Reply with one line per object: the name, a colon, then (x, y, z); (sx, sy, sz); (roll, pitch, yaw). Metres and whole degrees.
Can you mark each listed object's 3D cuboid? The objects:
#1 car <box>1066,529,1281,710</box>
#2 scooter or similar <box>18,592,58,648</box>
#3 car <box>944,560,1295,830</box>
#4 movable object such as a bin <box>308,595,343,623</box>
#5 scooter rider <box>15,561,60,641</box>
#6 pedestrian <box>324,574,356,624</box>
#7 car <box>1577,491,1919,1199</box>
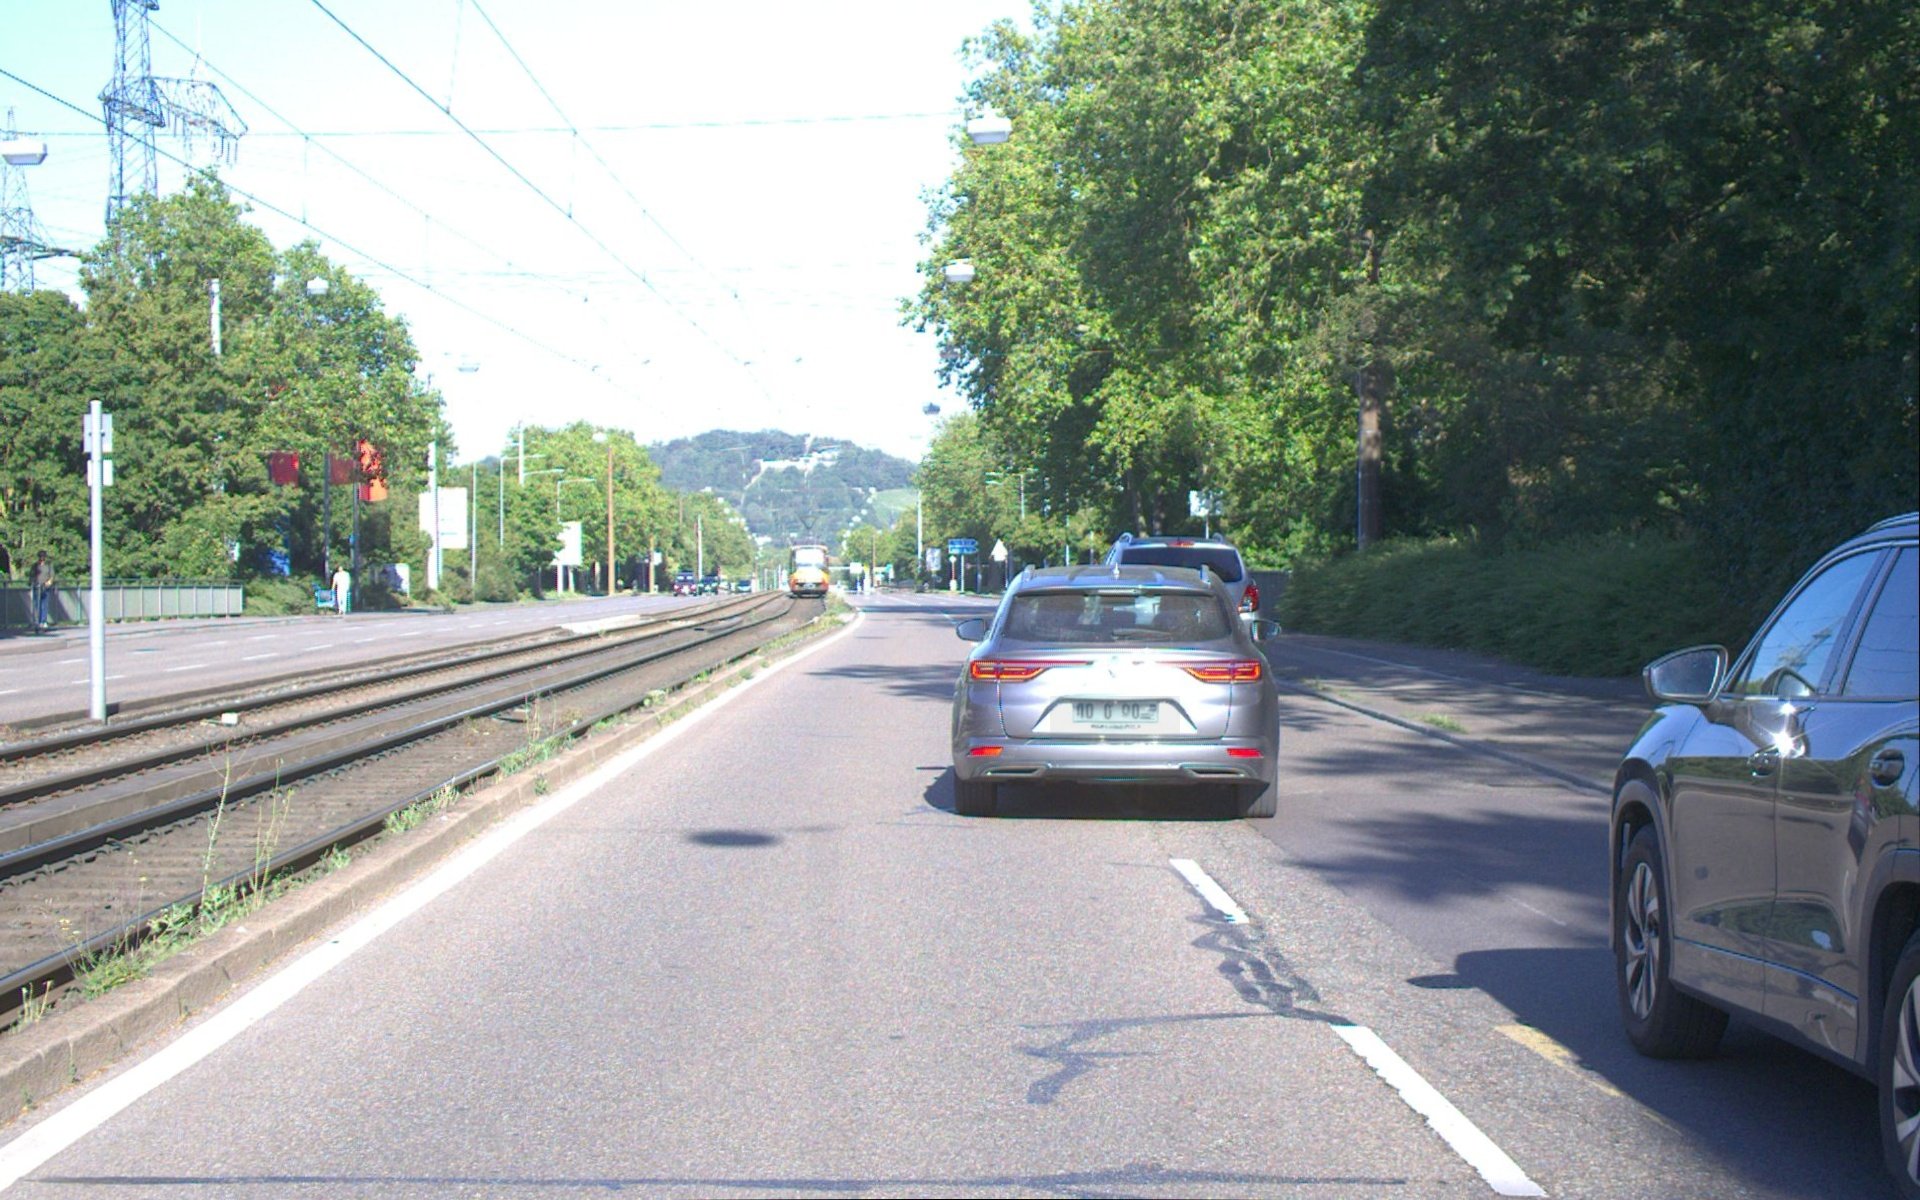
car: (2.247, 0.169, 37.130); (1.883, 1.789, 4.000); (2, 1, -2)
scooter or similar: (-21.535, 0.461, 80.319); (0.472, 1.291, 1.262); (0, 0, 5)
car: (0.856, 0.509, 20.969); (1.866, 1.462, 4.666); (0, 0, -1)
movable object such as a bin: (-22.588, 0.328, 122.433); (0.725, 0.958, 1.100); (2, -1, 21)
scooter rider: (-21.542, 0.026, 80.294); (0.682, 1.842, 1.000); (-1, 0, 6)
pedestrian: (-22.237, -0.034, 123.337); (0.725, 1.750, 0.834); (2, -1, 21)
car: (2.947, 0.601, 8.657); (1.844, 1.655, 4.440); (1, 0, -2)
